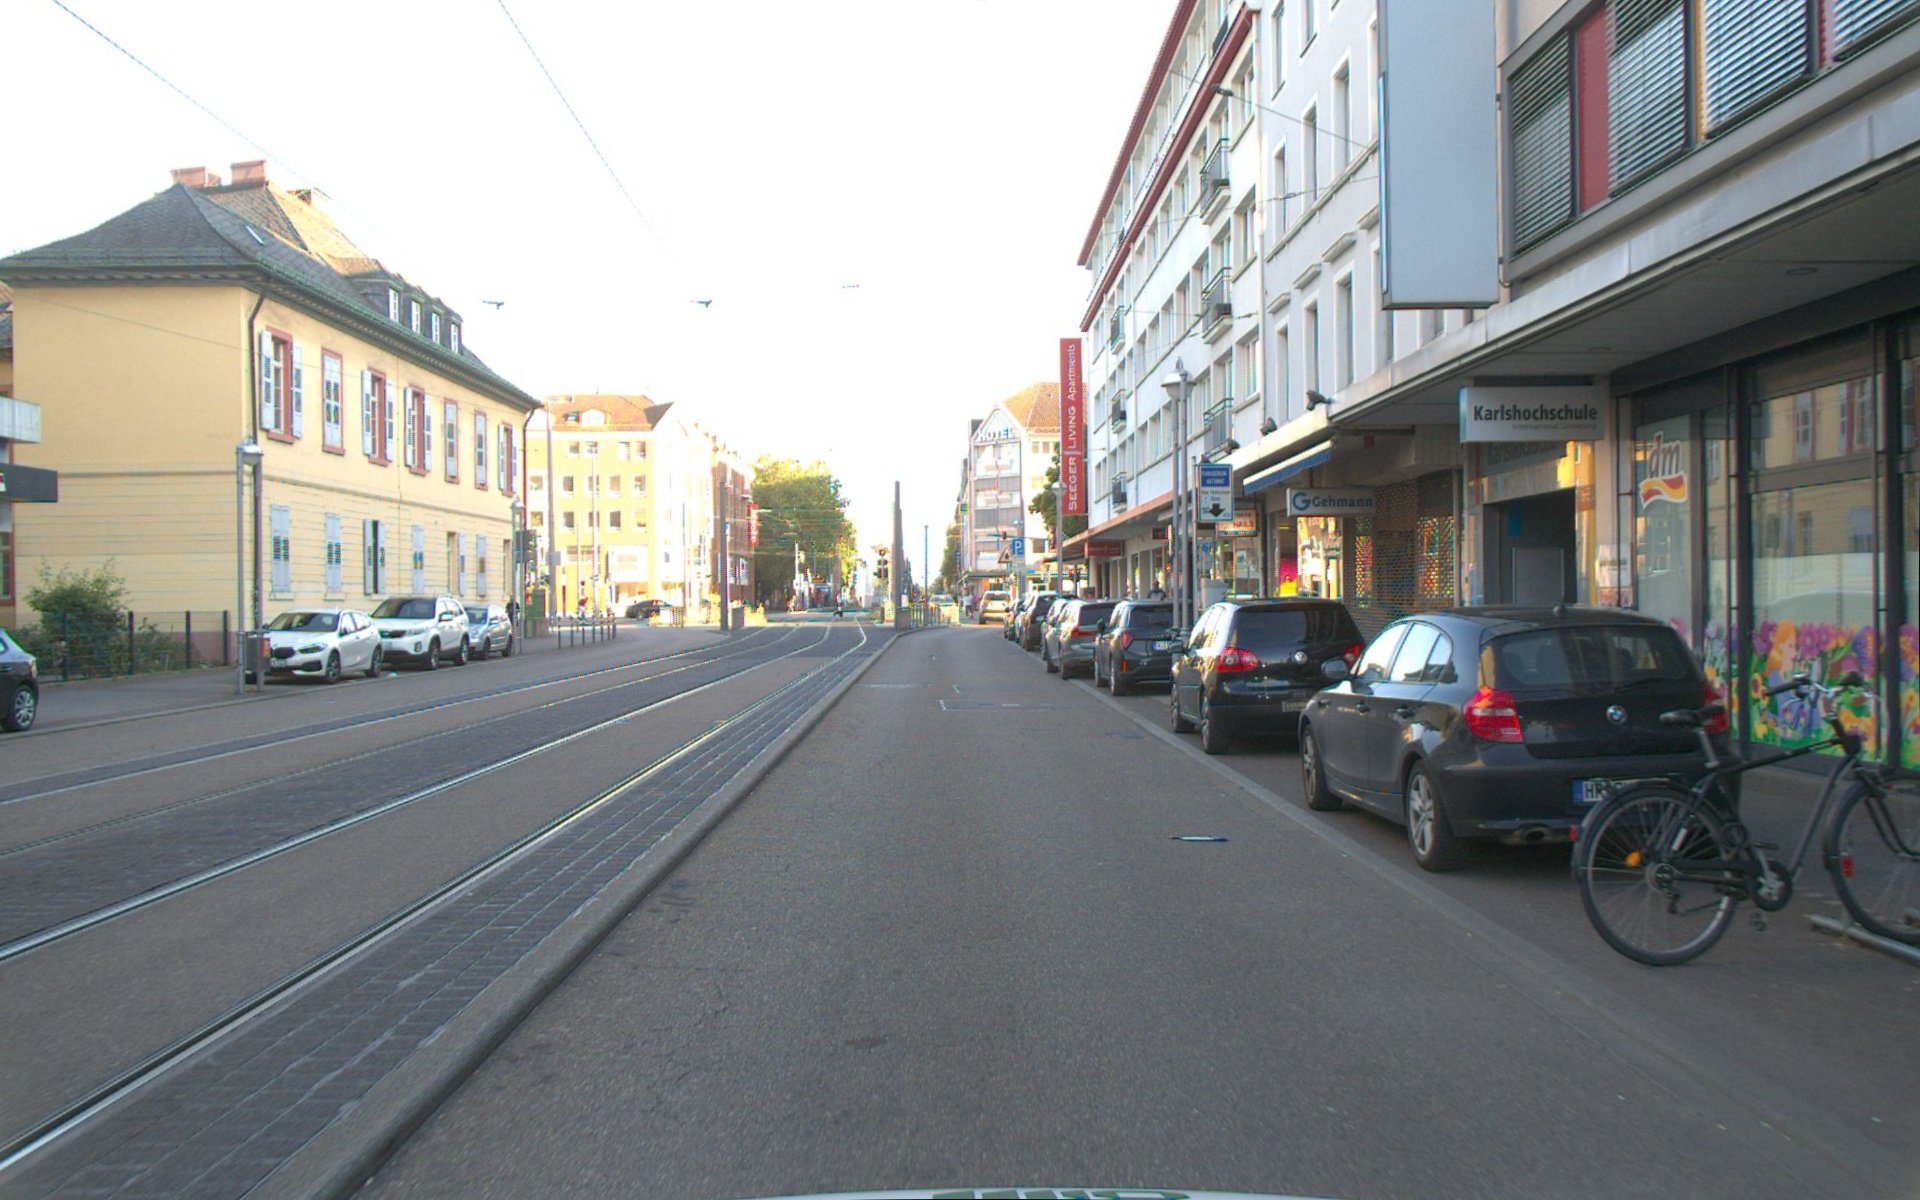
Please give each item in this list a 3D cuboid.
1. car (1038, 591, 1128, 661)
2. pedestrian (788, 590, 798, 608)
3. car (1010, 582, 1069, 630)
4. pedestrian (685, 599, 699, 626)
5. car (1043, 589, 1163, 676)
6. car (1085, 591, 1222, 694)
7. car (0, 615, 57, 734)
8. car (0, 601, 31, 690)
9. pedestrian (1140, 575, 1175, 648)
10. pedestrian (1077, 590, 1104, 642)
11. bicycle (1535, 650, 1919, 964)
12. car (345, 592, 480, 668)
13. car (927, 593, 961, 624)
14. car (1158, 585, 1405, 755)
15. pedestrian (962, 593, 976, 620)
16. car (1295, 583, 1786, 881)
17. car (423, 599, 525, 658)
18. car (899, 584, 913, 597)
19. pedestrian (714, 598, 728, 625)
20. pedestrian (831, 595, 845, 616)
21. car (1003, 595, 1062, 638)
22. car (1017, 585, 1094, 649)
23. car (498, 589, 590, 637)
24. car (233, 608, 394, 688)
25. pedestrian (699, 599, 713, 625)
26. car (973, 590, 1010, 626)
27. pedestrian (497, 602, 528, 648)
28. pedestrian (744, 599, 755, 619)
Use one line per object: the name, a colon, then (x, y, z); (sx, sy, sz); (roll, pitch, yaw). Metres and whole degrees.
car: (2.854, 0.570, 39.179); (1.745, 1.549, 4.356); (1, 0, -1)
pedestrian: (-16.273, -0.067, 161.037); (0.788, 1.693, 0.703); (1, -1, 3)
car: (2.515, 0.203, 53.273); (1.617, 1.445, 4.190); (1, 0, -1)
pedestrian: (-14.087, 0.640, 86.823); (0.650, 1.399, 0.651); (-1, 0, -4)
car: (2.724, 0.606, 32.473); (1.755, 1.560, 4.855); (1, 0, -2)
car: (3.065, 0.651, 26.890); (1.691, 1.507, 3.999); (1, 0, -1)
car: (-12.854, 0.939, 20.034); (1.657, 1.450, 3.964); (1, 0, -1)
car: (-19.047, 0.784, 29.424); (3.907, 1.580, 1.913); (1, 0, -3)
pedestrian: (5.242, 0.308, 43.973); (0.759, 1.913, 0.934); (-1, -1, -3)
pedestrian: (4.051, 0.495, 51.362); (0.718, 1.601, 0.966); (-1, 0, -1)
bicycle: (3.464, 0.835, 6.983); (1.803, 1.129, 0.641); (-3, 0, -4)
car: (-13.147, 0.669, 39.988); (1.849, 1.690, 4.758); (1, 0, -3)
car: (-0.996, 0.538, 102.287); (1.953, 1.623, 3.999); (-5, -2, -1)
car: (3.218, 0.655, 17.317); (1.729, 1.540, 4.071); (1, 0, -1)
pedestrian: (0.580, 0.412, 107.646); (0.856, 1.735, 0.701); (1, -1, 2)
car: (3.363, 0.685, 10.422); (1.621, 1.488, 4.022); (1, 0, -1)
car: (-13.466, 0.766, 46.042); (1.713, 1.500, 3.999); (1, 1, -1)
car: (-8.142, -1.442, 249.616); (1.953, 1.934, 4.000); (1, 0, 0)
pedestrian: (-12.627, 0.604, 87.311); (0.650, 1.399, 0.651); (-1, 0, -4)
pedestrian: (-8.123, 0.348, 109.797); (0.885, 1.399, 0.853); (-1, 0, -4)
car: (2.539, 0.594, 58.872); (1.753, 1.437, 4.686); (1, 0, -1)
car: (2.698, 0.482, 47.520); (1.818, 1.730, 4.416); (1, 0, -1)
car: (-18.678, 0.560, 74.201); (3.924, 2.049, 1.990); (-1, 0, -17)
car: (-13.186, 0.931, 33.992); (1.686, 1.478, 4.282); (1, 0, -1)
pedestrian: (-13.368, 0.633, 87.022); (0.650, 1.399, 0.651); (0, 0, -4)
car: (1.574, 0.414, 83.620); (1.797, 1.665, 4.090); (-2, -1, 0)
pedestrian: (-15.813, 0.878, 58.458); (0.783, 1.569, 0.877); (1, -1, 1)
pedestrian: (-22.017, 0.963, 173.020); (1.071, 2.049, 1.162); (1, -1, -3)
